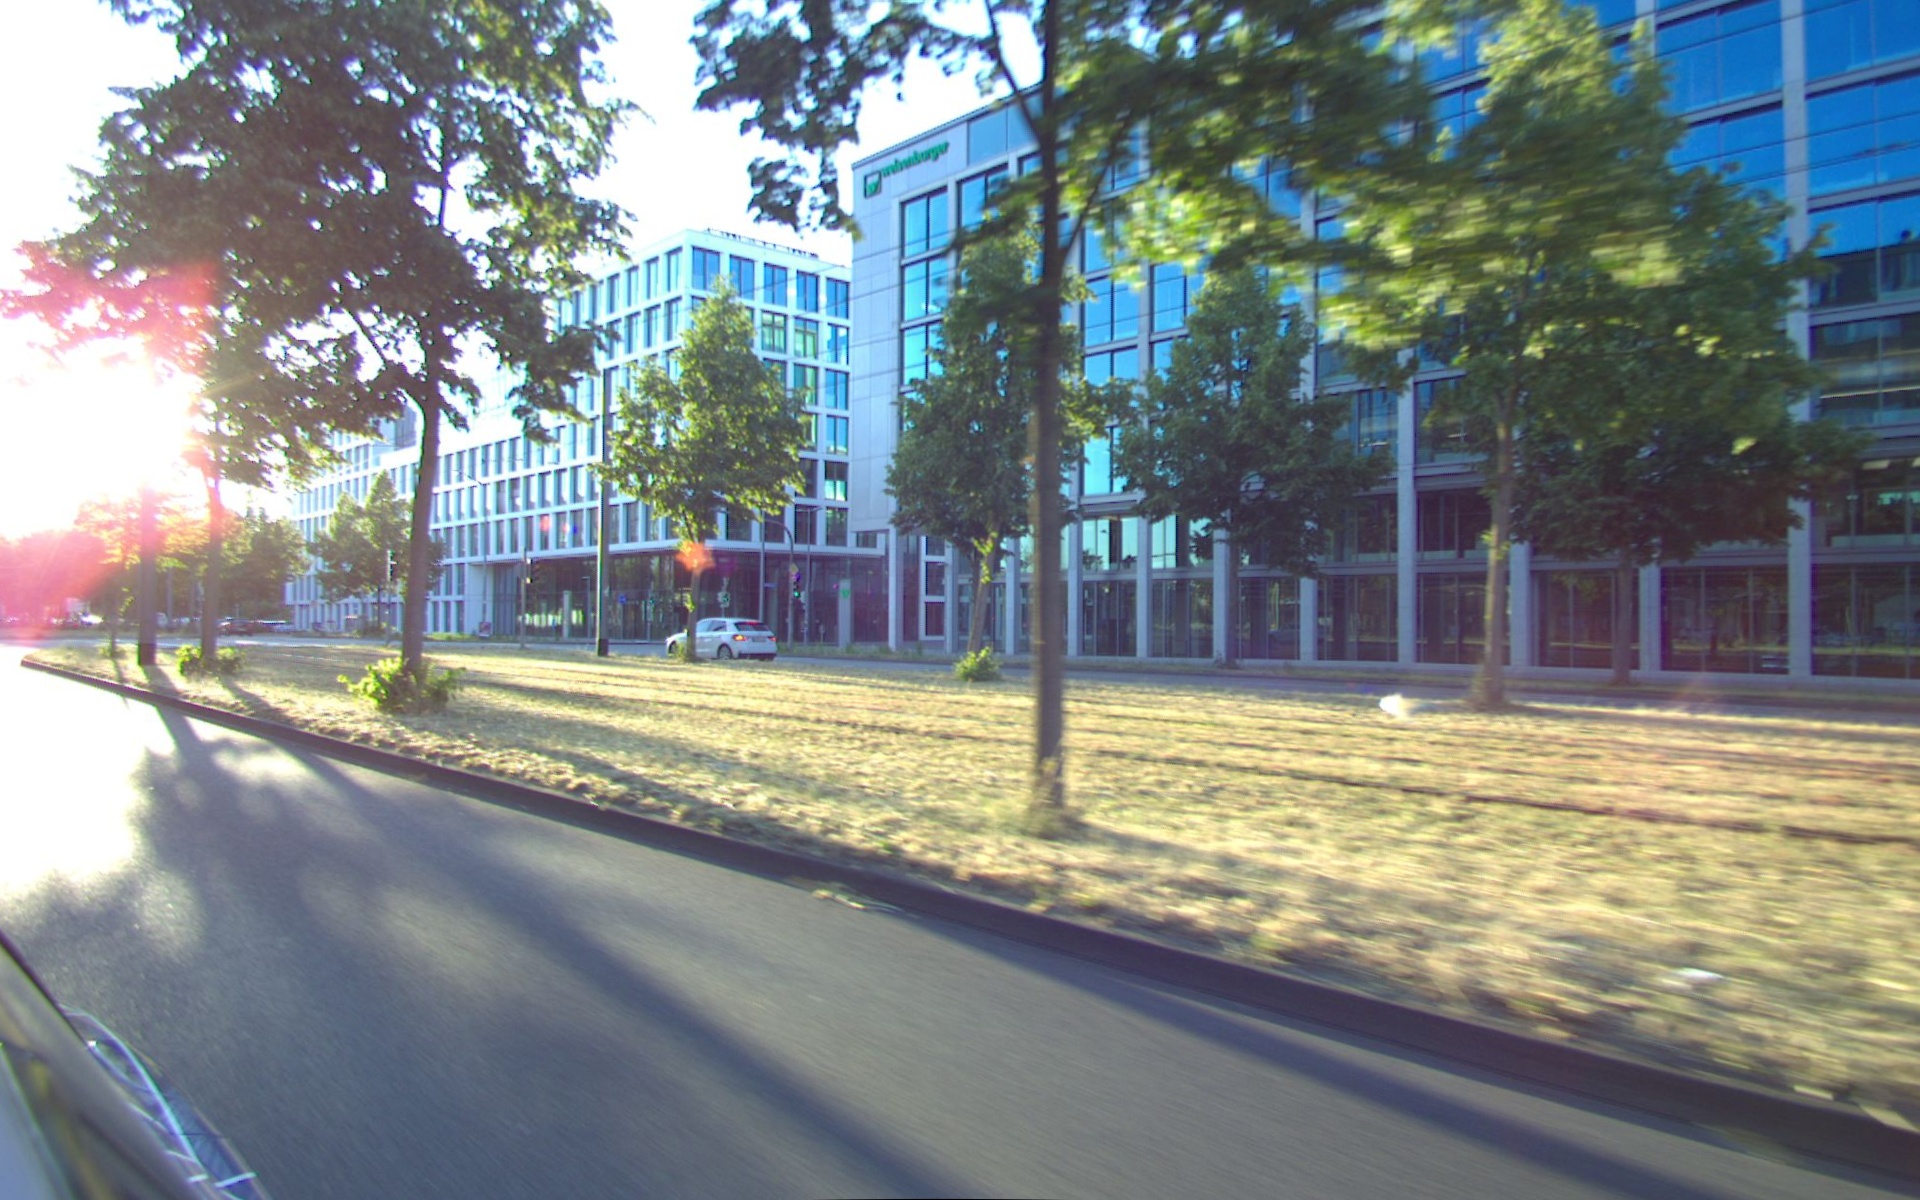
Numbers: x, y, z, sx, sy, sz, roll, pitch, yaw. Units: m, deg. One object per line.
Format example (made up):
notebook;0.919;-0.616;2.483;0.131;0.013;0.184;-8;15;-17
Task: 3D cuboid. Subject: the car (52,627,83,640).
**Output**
car;-105.349;3.967;119.442;4.895;1.445;1.973;-1;-2;40

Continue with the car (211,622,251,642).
car;-56.034;2.458;77.785;3.997;1.460;1.624;-2;-2;41

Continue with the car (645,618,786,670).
car;-7.649;1.314;31.449;4.626;1.497;1.883;-1;-2;39

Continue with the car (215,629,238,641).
car;-99.325;4.733;136.986;1.969;1.604;4.340;1;-2;-43

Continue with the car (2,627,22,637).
car;-134.927;4.581;144.063;3.996;1.414;1.629;-2;-2;40

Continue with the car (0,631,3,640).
car;-155.320;5.643;162.698;3.996;1.414;1.629;-2;-2;40
